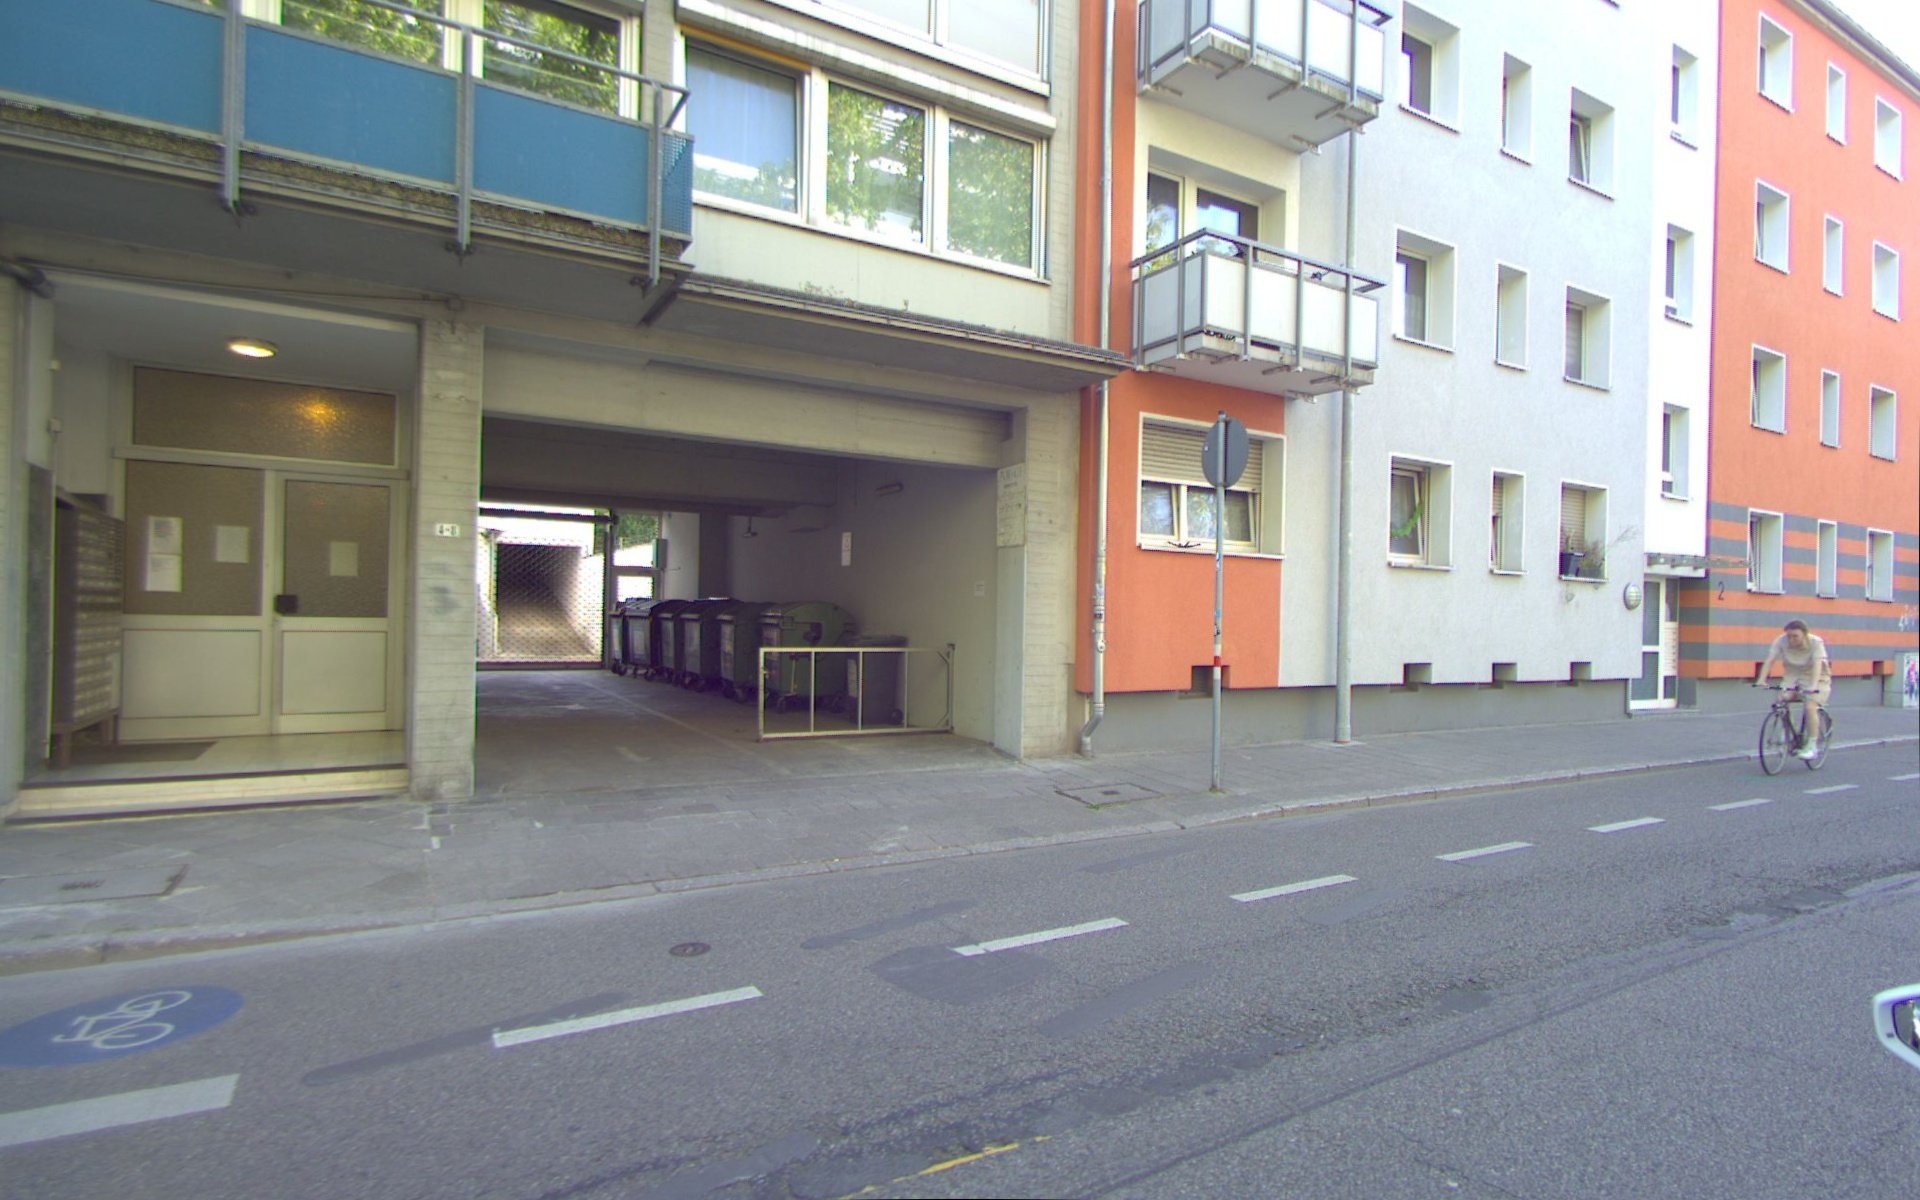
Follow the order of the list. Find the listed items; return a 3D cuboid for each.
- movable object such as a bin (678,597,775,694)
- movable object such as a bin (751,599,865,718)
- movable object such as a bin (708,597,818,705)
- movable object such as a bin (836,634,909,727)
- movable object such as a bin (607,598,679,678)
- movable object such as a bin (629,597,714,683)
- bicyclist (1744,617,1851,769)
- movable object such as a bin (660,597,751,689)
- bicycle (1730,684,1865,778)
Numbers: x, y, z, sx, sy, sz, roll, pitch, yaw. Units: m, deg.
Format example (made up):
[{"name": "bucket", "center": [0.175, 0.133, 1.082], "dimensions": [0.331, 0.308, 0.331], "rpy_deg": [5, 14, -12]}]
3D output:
[{"name": "movable object such as a bin", "center": [-3.820, 0.726, 16.383], "dimensions": [1.264, 1.506, 1.155], "rpy_deg": [2, 0, -28]}, {"name": "movable object such as a bin", "center": [-2.057, 0.753, 13.494], "dimensions": [1.128, 1.484, 1.255], "rpy_deg": [2, 0, -28]}, {"name": "movable object such as a bin", "center": [-2.923, 0.733, 14.847], "dimensions": [1.264, 1.493, 1.265], "rpy_deg": [2, -1, -28]}, {"name": "movable object such as a bin", "center": [-1.057, 0.957, 12.142], "dimensions": [0.694, 1.061, 0.567], "rpy_deg": [2, 0, -28]}, {"name": "movable object such as a bin", "center": [-6.208, 0.732, 19.630], "dimensions": [1.128, 1.484, 1.129], "rpy_deg": [2, 0, -28]}, {"name": "movable object such as a bin", "center": [-5.288, 0.721, 18.374], "dimensions": [1.264, 1.506, 1.155], "rpy_deg": [2, 0, -28]}, {"name": "bicyclist", "center": [9.203, 0.998, 11.043], "dimensions": [0.797, 1.579, 0.645], "rpy_deg": [2, 0, -31]}, {"name": "movable object such as a bin", "center": [-4.423, 0.728, 17.431], "dimensions": [1.264, 1.514, 1.155], "rpy_deg": [2, 0, -28]}, {"name": "bicycle", "center": [9.269, 1.416, 11.101], "dimensions": [1.846, 0.903, 0.545], "rpy_deg": [2, 0, -31]}]
